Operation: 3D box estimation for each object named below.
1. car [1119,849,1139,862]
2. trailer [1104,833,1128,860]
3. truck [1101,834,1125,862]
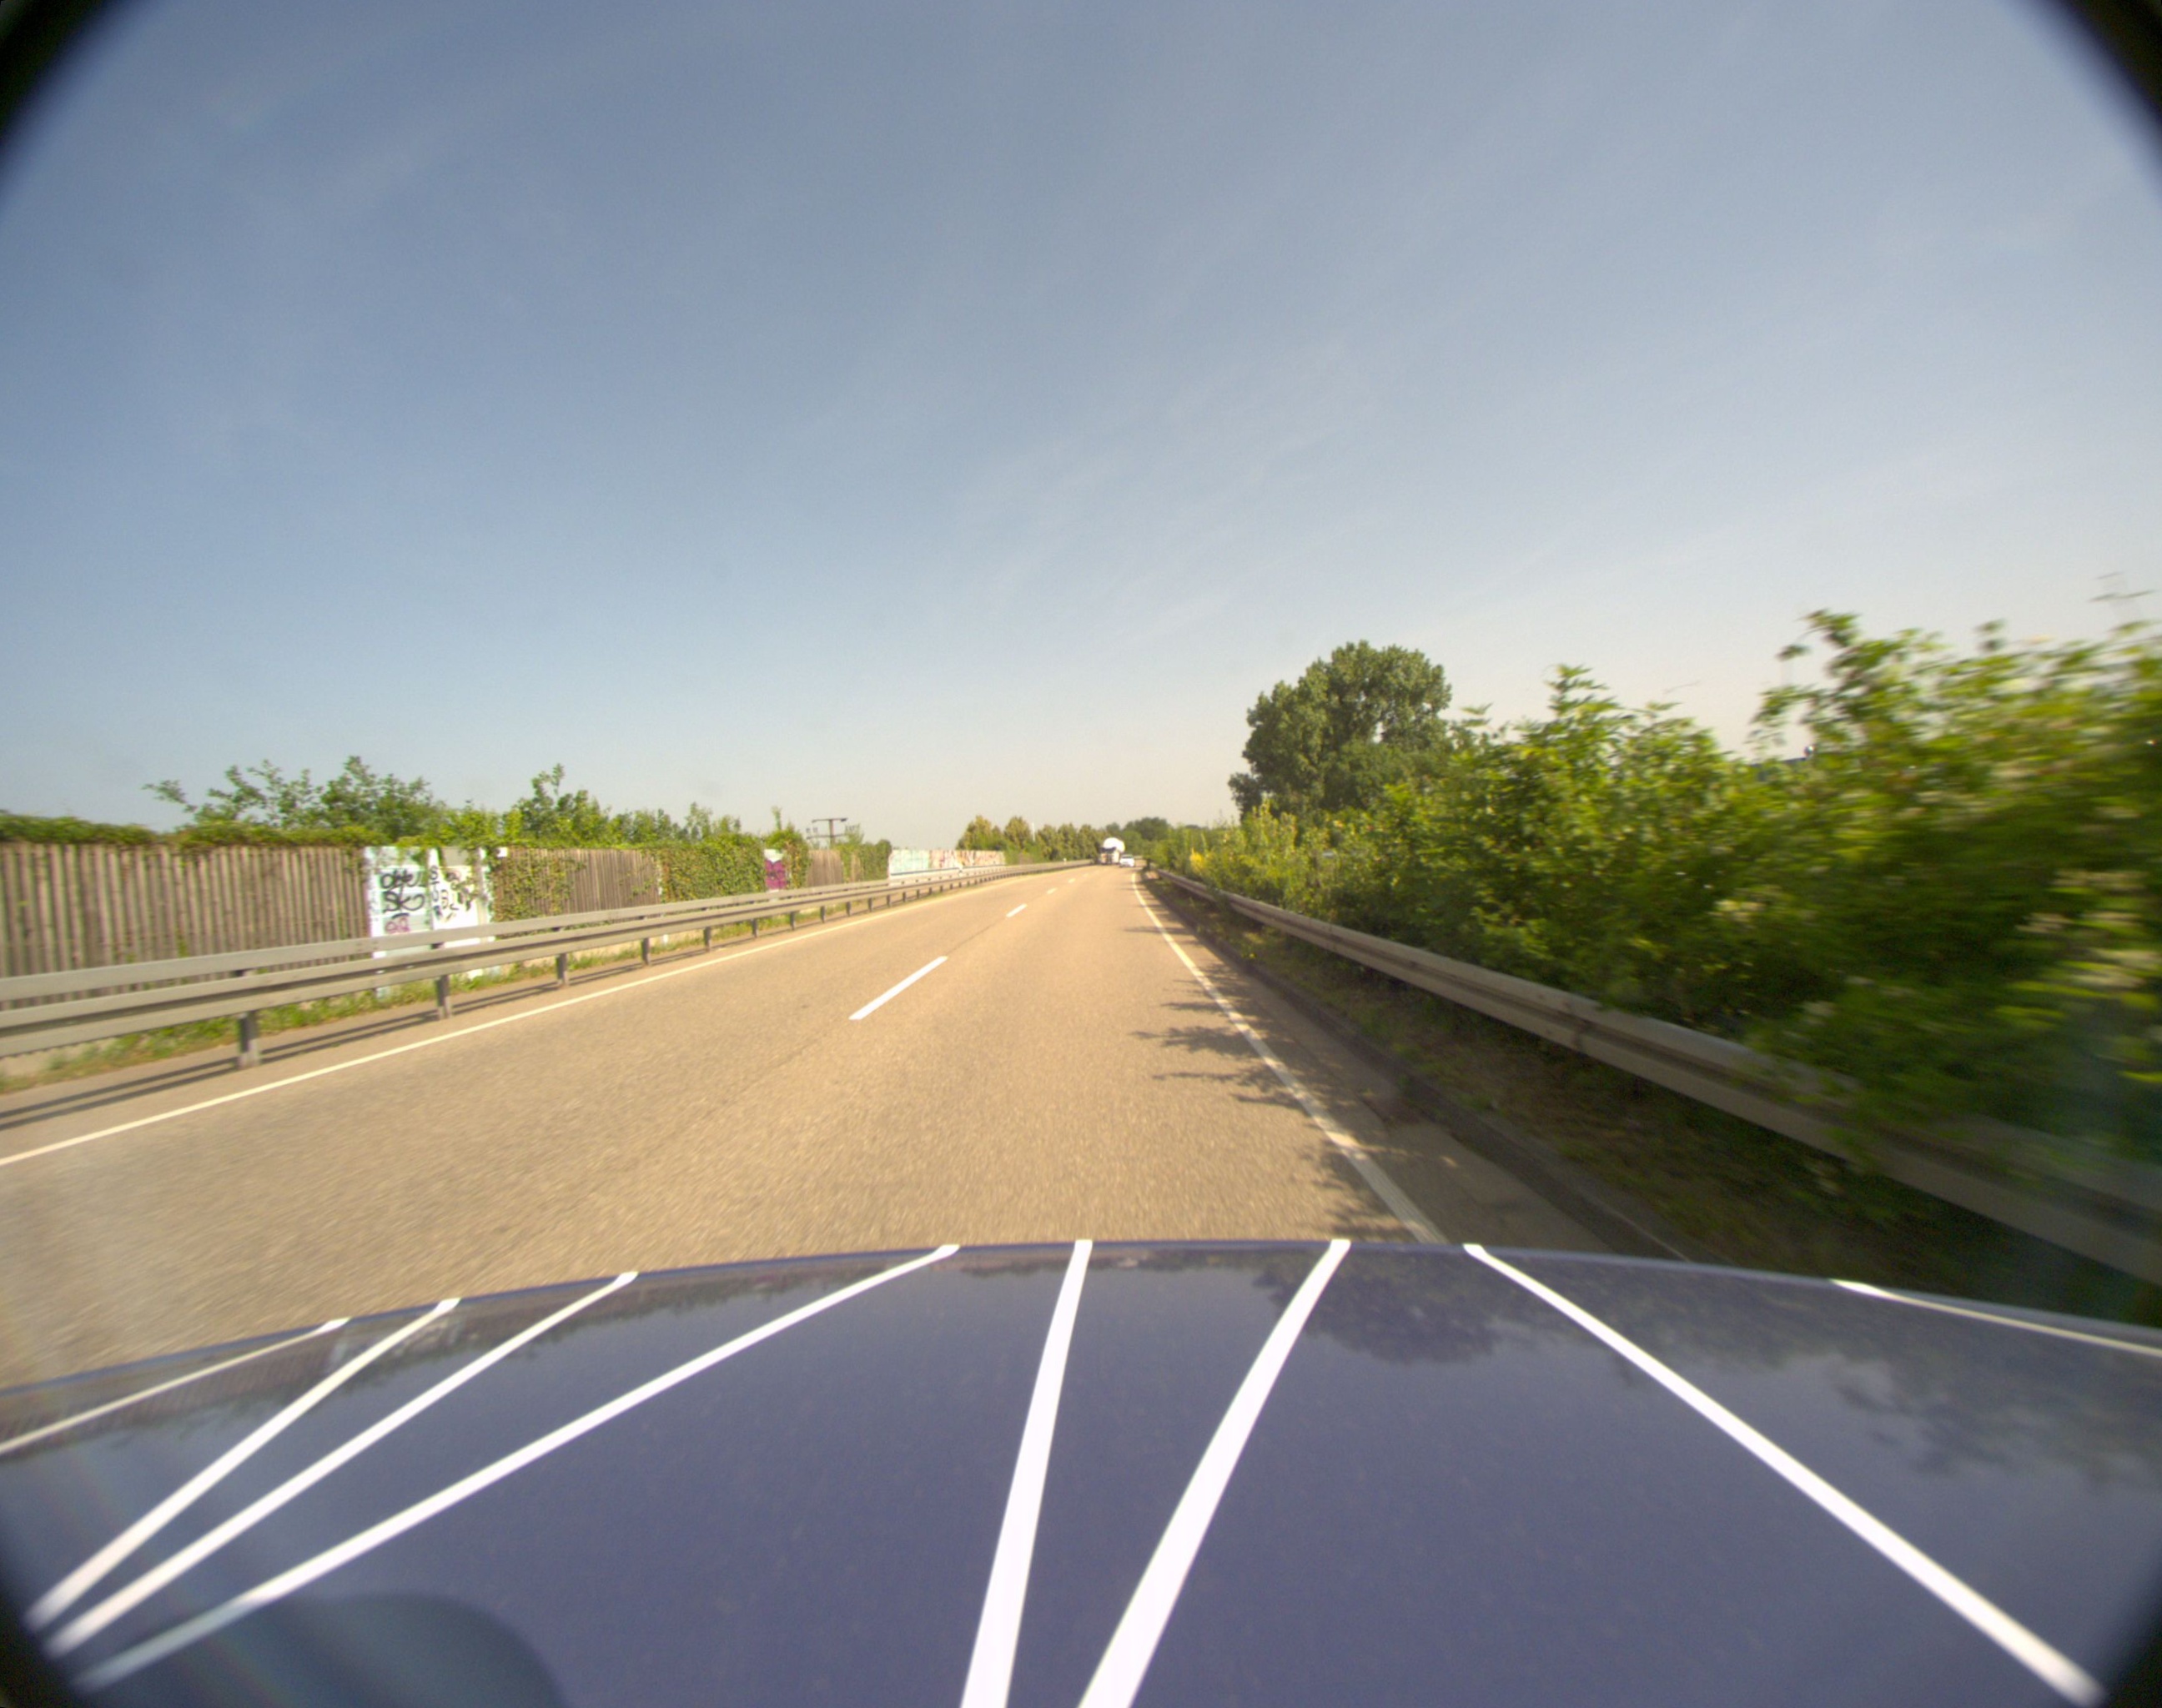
[{"bbox_3d":[5.664,0.195,89.264,1.788,1.427,4.002,-2,1,9],"label":"car"},{"bbox_3d":[5.451,-1.195,116.376,2.762,3.968,8.190,-1,1,8],"label":"trailer"},{"bbox_3d":[4.730,-0.959,110.958,2.777,3.939,5.630,-2,1,8],"label":"truck"}]
